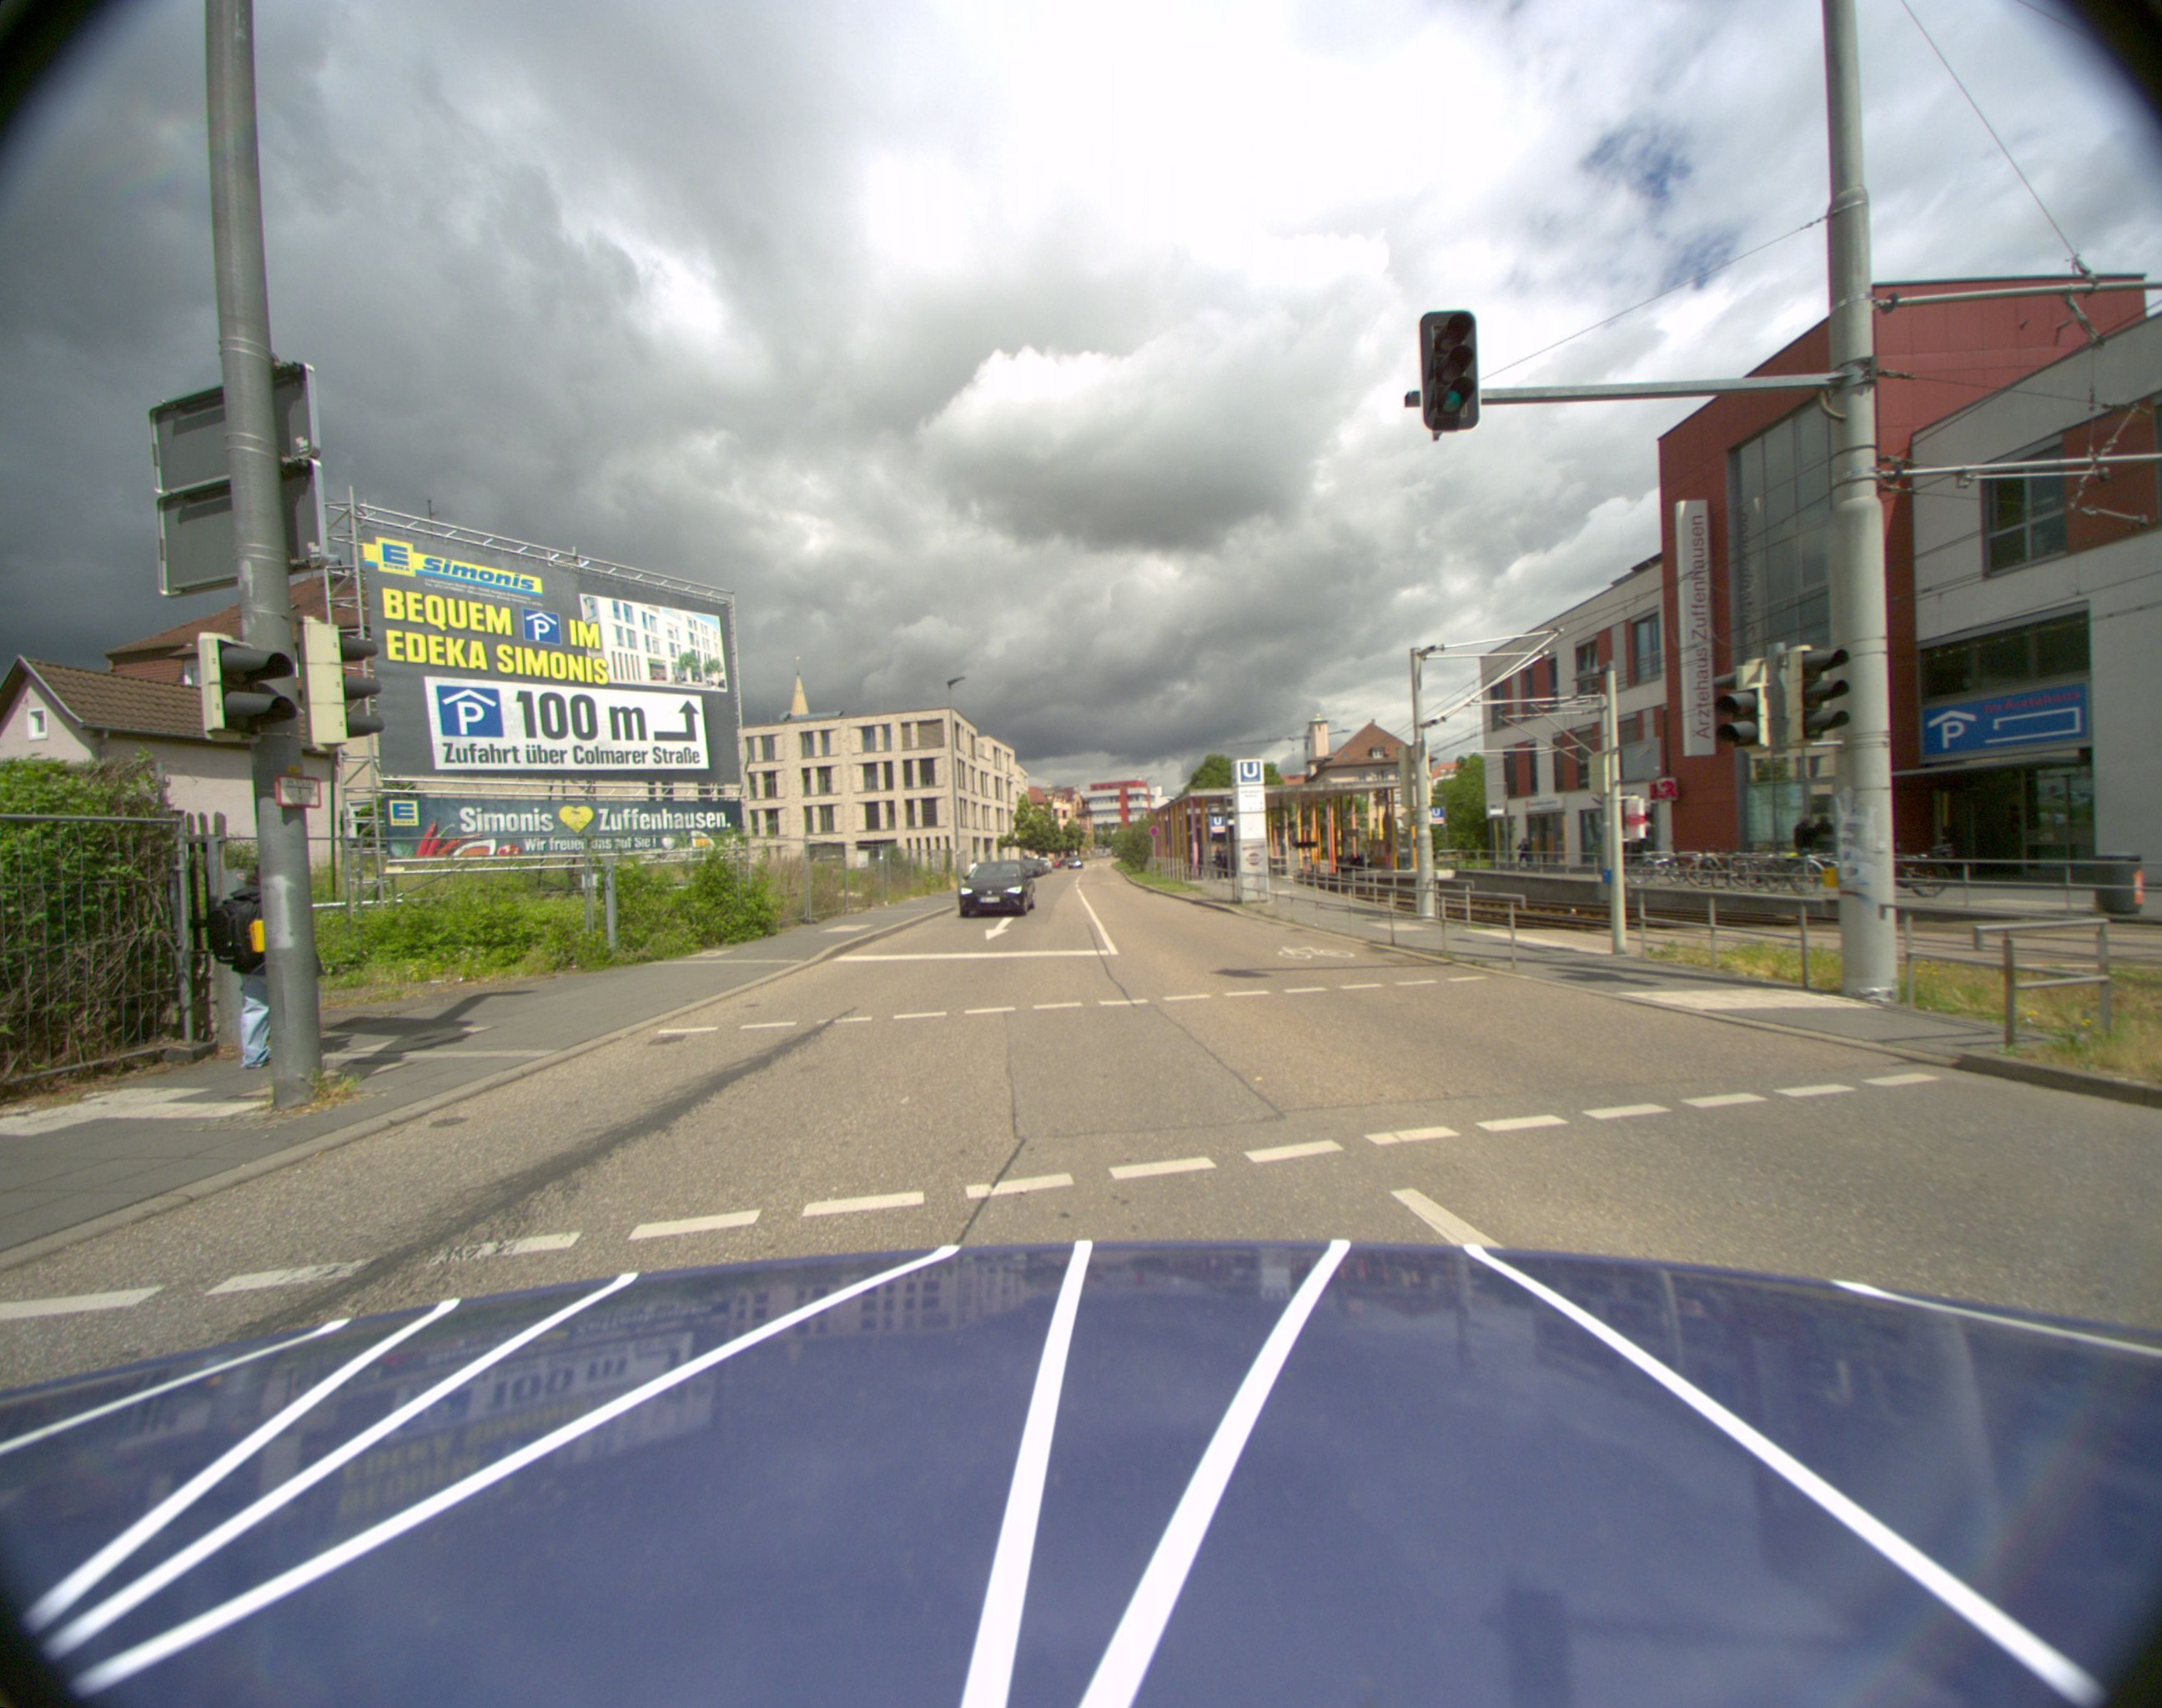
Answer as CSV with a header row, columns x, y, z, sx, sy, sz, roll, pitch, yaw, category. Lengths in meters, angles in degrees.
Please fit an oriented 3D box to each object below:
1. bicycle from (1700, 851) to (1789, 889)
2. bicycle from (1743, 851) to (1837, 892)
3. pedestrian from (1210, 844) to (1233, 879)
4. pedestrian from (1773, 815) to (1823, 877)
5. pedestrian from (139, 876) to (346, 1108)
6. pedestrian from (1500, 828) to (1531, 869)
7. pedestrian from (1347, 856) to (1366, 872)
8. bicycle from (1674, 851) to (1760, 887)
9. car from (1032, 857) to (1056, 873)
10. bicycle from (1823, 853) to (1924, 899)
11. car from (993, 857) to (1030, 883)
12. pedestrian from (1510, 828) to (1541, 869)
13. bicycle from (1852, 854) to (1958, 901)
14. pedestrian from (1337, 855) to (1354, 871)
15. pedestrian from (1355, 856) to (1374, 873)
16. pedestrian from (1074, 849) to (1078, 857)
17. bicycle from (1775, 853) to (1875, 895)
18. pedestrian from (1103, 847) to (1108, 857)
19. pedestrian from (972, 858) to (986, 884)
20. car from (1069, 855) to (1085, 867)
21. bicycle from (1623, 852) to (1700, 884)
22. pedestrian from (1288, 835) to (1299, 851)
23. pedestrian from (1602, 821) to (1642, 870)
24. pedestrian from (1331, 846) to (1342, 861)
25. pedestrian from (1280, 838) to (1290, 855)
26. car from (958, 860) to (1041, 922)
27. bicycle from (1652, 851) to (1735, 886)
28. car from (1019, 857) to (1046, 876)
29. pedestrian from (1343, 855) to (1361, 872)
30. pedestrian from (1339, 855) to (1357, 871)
x,y,z,sx,sy,sz,roll,pitch,yaw,category
17.553,0.429,20.122,1.861,0.934,0.454,-2,1,5,bicycle
17.687,0.439,18.971,1.862,0.957,0.454,-2,1,3,bicycle
7.709,0.397,41.645,1.105,1.903,0.864,-1,2,2,pedestrian
22.015,-0.240,23.340,0.881,1.835,0.862,-4,3,-27,pedestrian
-6.405,0.993,5.839,0.765,1.633,0.778,-1,0,12,pedestrian
21.131,-0.271,36.971,0.864,1.957,1.105,-1,2,-1,pedestrian
19.078,0.685,52.640,0.943,1.128,0.886,-2,0,2,pedestrian
17.571,0.423,21.023,1.861,0.917,0.455,-2,1,8,bicycle
-3.283,0.988,67.863,1.677,1.299,3.794,-1,1,3,car
17.716,0.489,17.000,1.739,0.952,0.428,-2,1,3,bicycle
-4.150,0.961,46.116,1.677,1.415,3.794,-1,1,3,car
21.561,-0.285,36.901,0.864,1.957,1.105,-1,2,-1,pedestrian
17.728,0.503,16.367,1.739,0.947,0.428,-2,1,3,bicycle
19.343,0.636,55.493,0.943,1.128,0.886,-2,0,2,pedestrian
19.273,0.699,51.684,0.943,1.128,0.886,-2,0,2,pedestrian
-0.879,-0.130,137.240,0.673,1.503,0.783,-2,0,3,pedestrian
17.649,0.470,18.039,1.862,0.930,0.454,-2,1,3,bicycle
4.879,-0.462,152.307,0.800,2.002,0.810,-1,0,9,pedestrian
-5.833,0.964,43.391,0.673,1.503,0.782,-2,0,1,pedestrian
-0.457,0.831,91.564,1.677,1.299,3.794,-1,1,3,car
17.537,0.422,22.980,1.861,0.876,0.455,-2,1,9,bicycle
27.047,-1.397,96.879,1.127,2.002,1.179,-2,0,6,pedestrian
21.923,-0.348,30.828,0.864,1.957,1.106,-1,2,3,pedestrian
25.195,-0.062,74.856,0.744,1.442,0.903,-2,0,0,pedestrian
24.977,-0.945,93.075,1.127,2.002,1.459,-2,0,13,pedestrian
-2.156,0.949,21.062,1.677,1.425,3.794,-2,1,3,car
17.596,0.408,21.852,1.861,0.927,0.455,-2,1,9,bicycle
-3.794,0.986,59.960,1.677,1.367,3.795,-2,0,3,car
19.093,0.667,53.598,0.943,1.128,0.886,-2,0,2,pedestrian
19.190,0.647,54.588,0.943,1.128,0.886,-2,0,2,pedestrian
